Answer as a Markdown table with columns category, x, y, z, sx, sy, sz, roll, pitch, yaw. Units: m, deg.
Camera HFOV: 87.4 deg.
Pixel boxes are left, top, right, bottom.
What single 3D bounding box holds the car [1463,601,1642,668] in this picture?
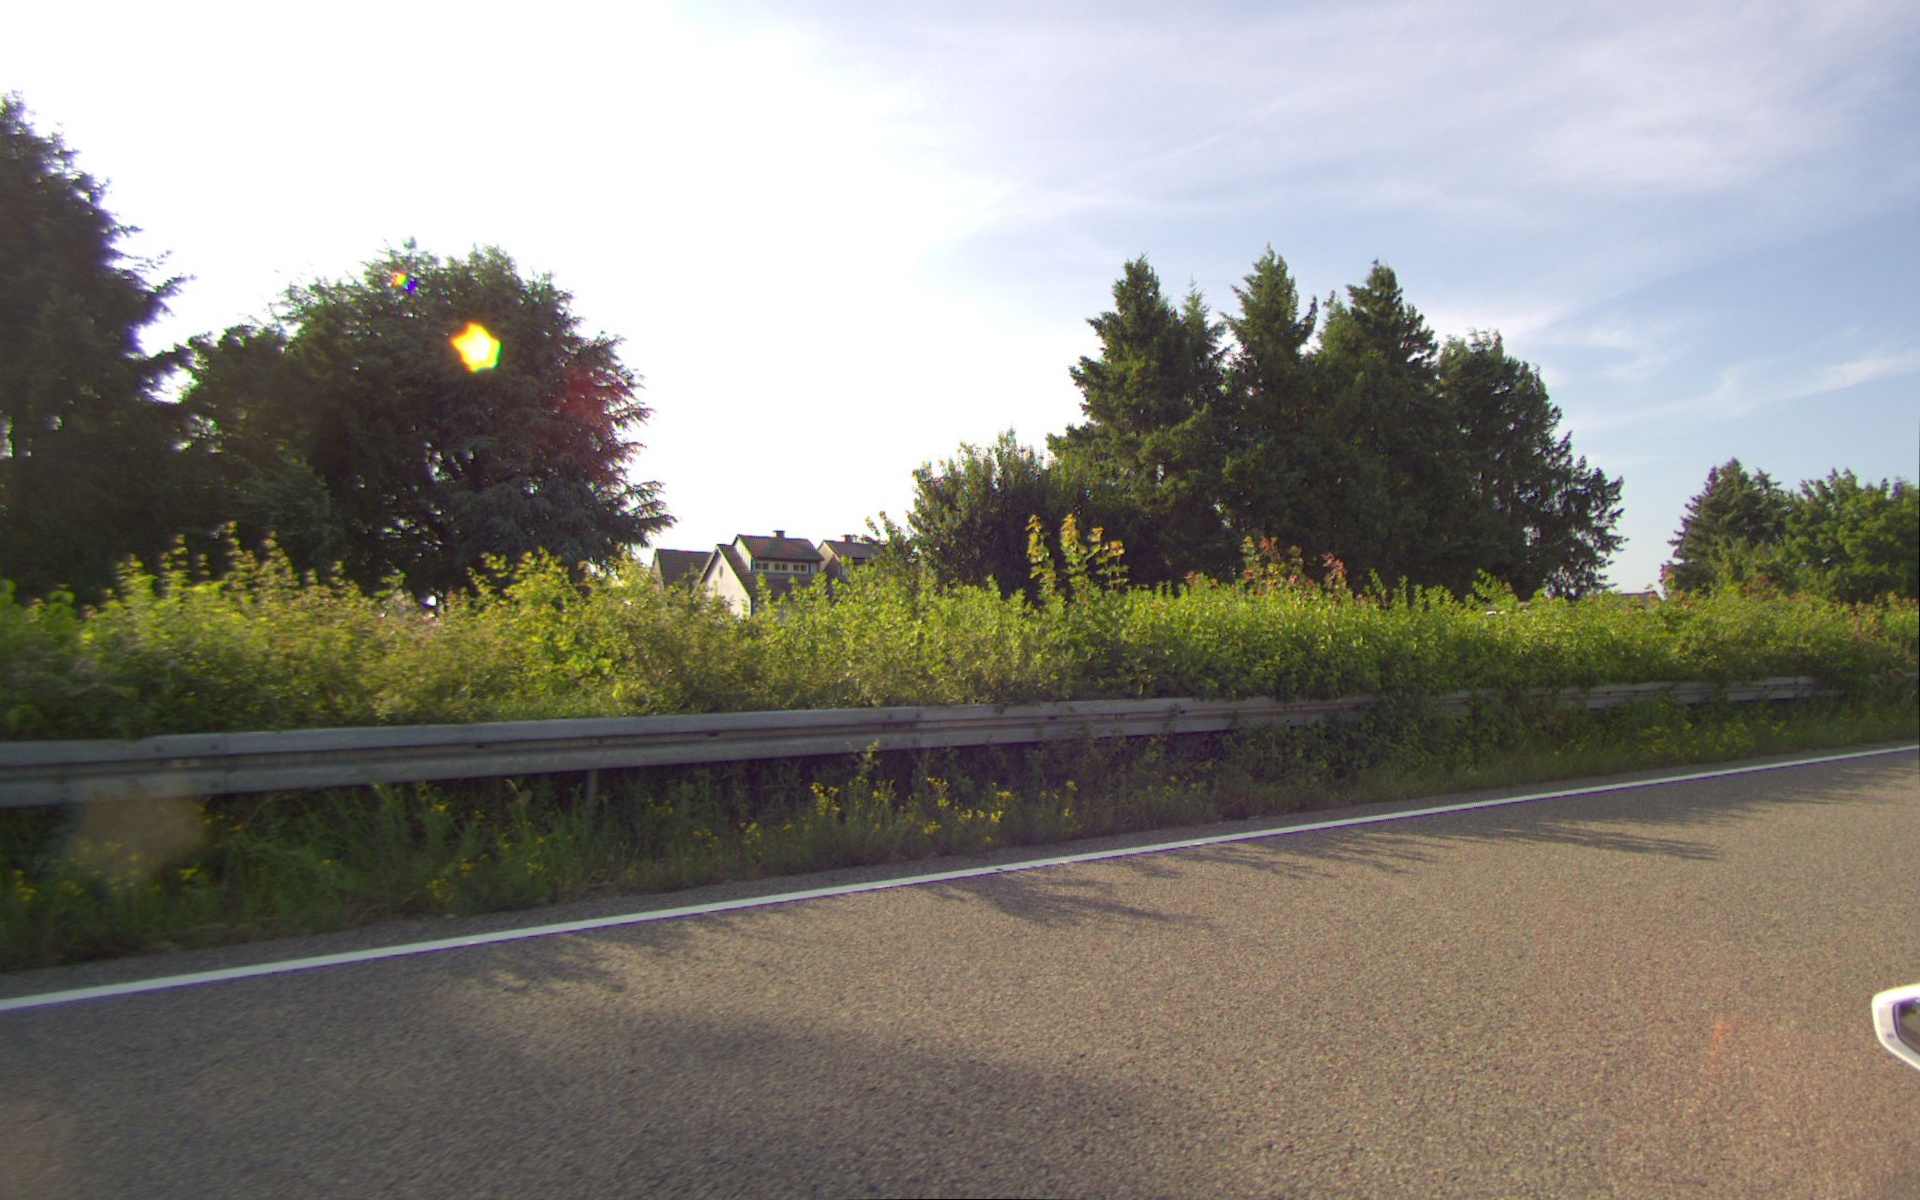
| category | x | y | z | sx | sy | sz | roll | pitch | yaw |
| --- | --- | --- | --- | --- | --- | --- | --- | --- | --- |
| car | 13.814 | 0.791 | 23.355 | 4.346 | 1.441 | 1.724 | 2 | -1 | -31 |
